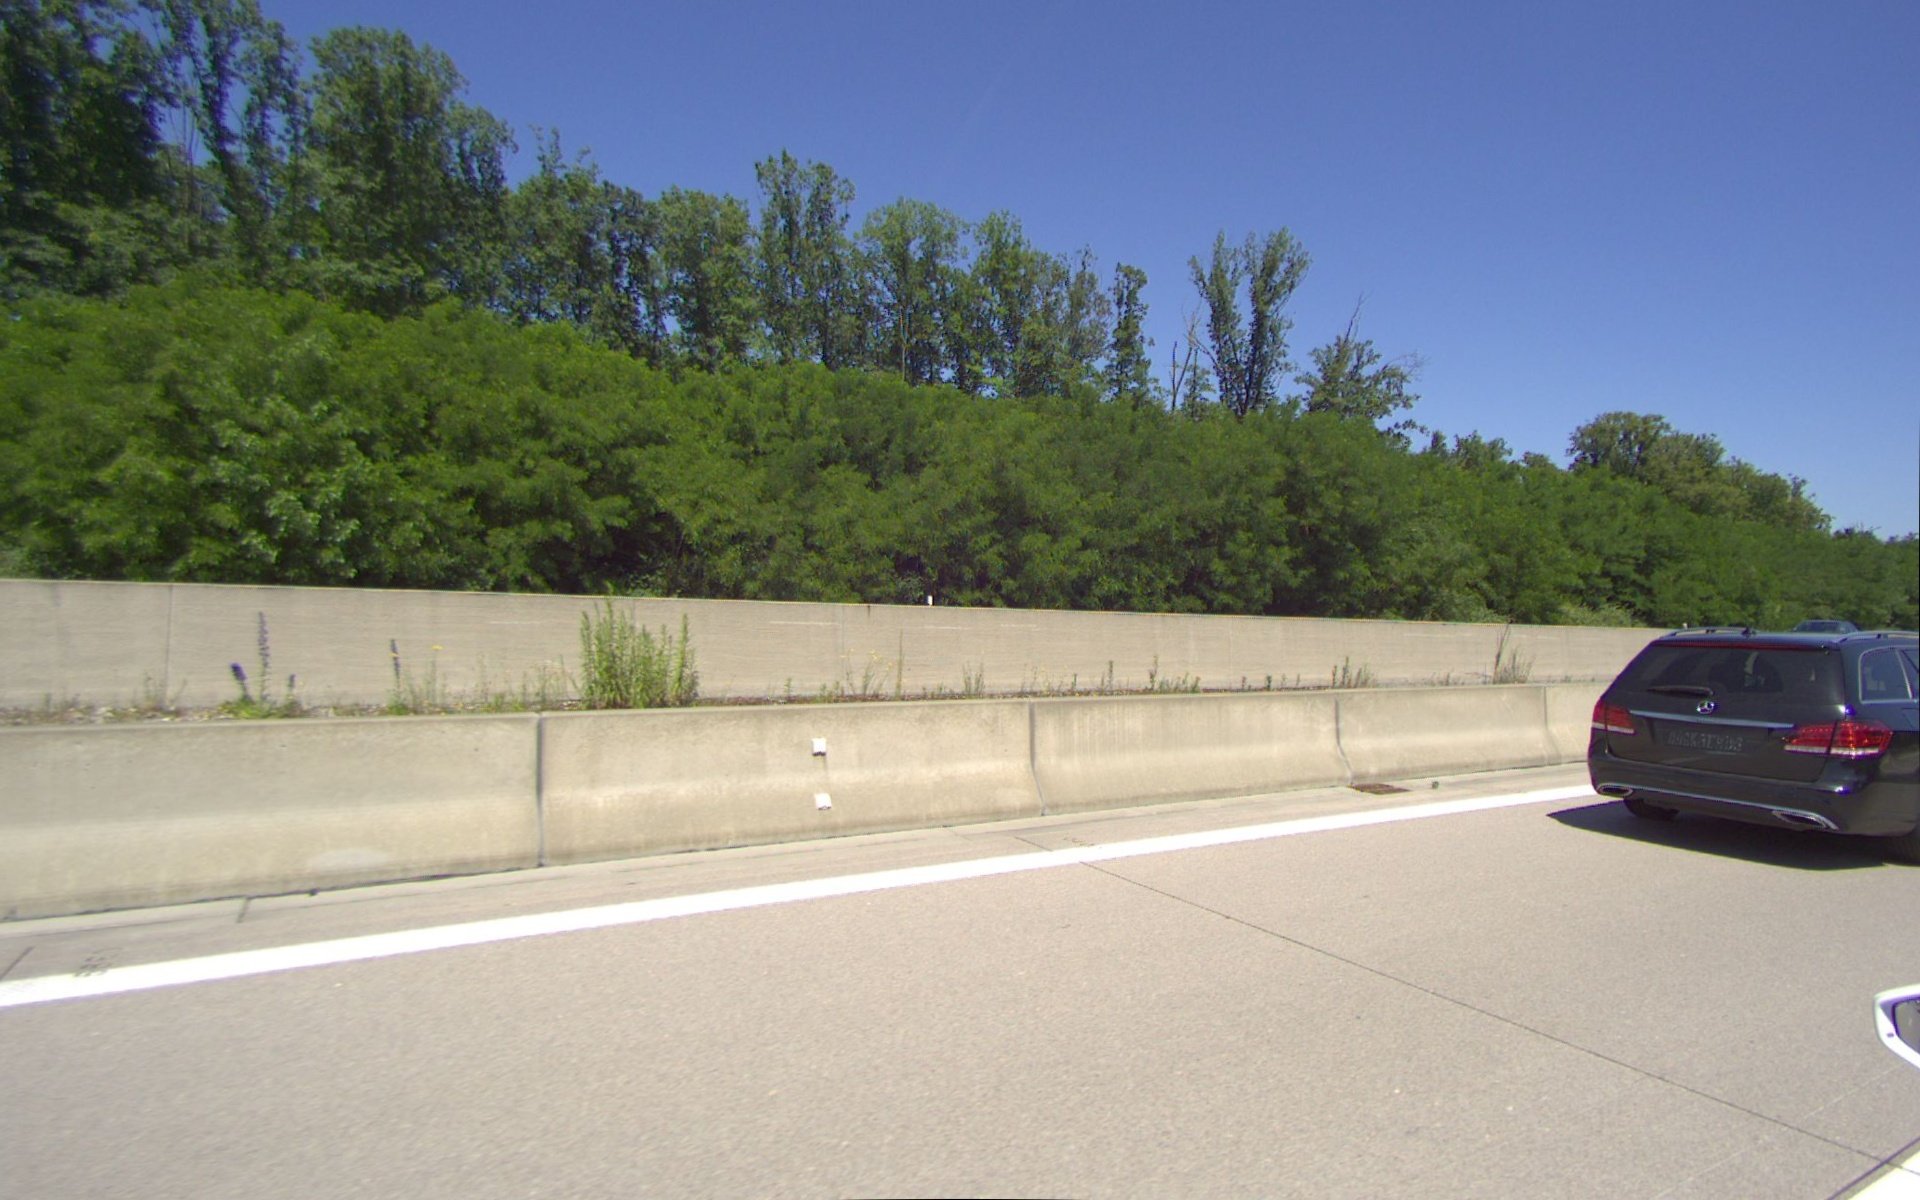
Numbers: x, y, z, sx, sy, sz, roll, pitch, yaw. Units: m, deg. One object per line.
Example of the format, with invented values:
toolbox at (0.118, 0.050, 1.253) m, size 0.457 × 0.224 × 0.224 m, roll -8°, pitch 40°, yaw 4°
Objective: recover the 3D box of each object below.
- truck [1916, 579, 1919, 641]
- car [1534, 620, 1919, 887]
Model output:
truck at (64.267, 0.707, 64.682) m, size 5.906 × 3.988 × 2.649 m, roll 2°, pitch -1°, yaw -34°
car at (7.104, 0.959, 7.996) m, size 5.537 × 1.493 × 1.882 m, roll 1°, pitch 0°, yaw -30°
